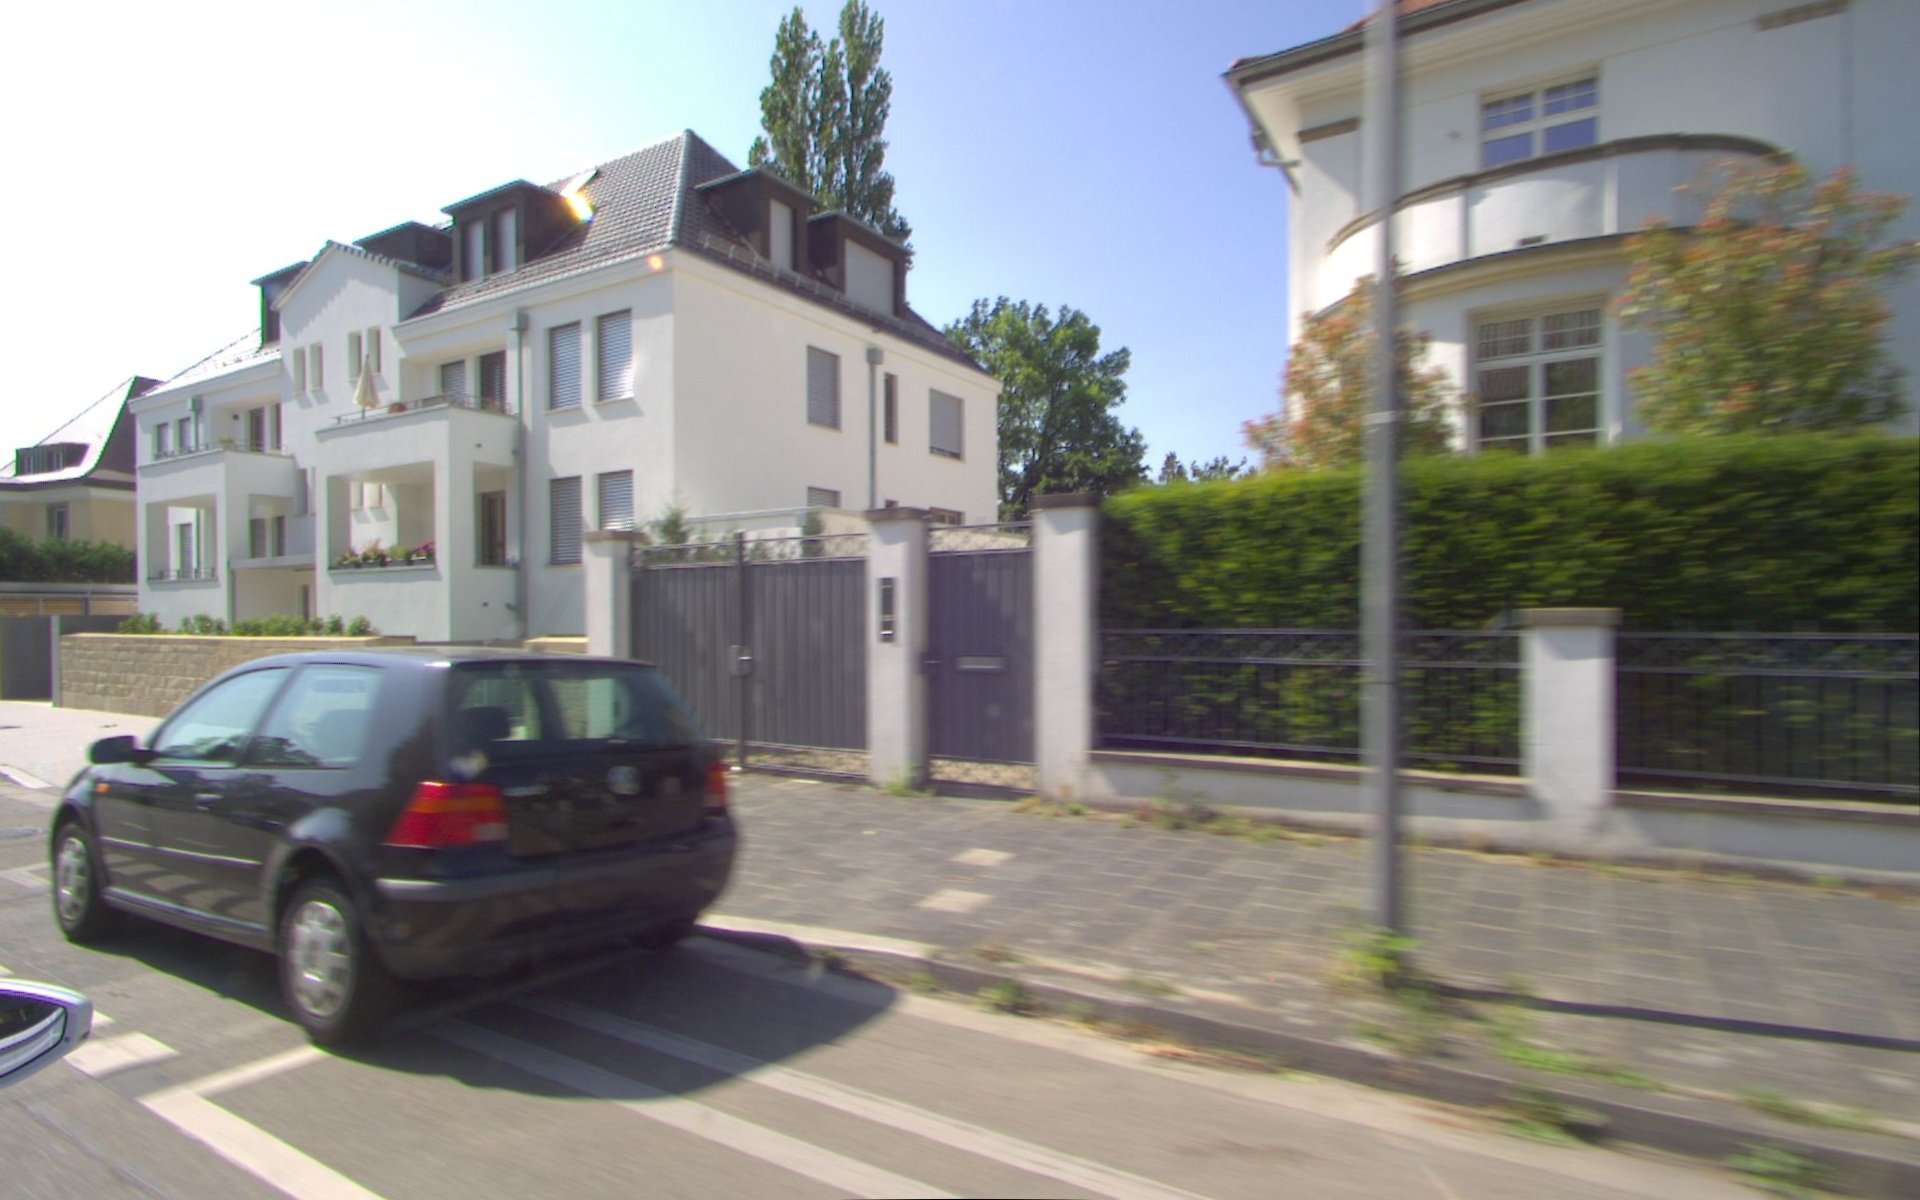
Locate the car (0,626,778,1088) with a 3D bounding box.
[{"bbox_3d":[-2.947,0.913,4.938,3.942,1.466,1.618,-1,-4,31],"label":"car"}]
